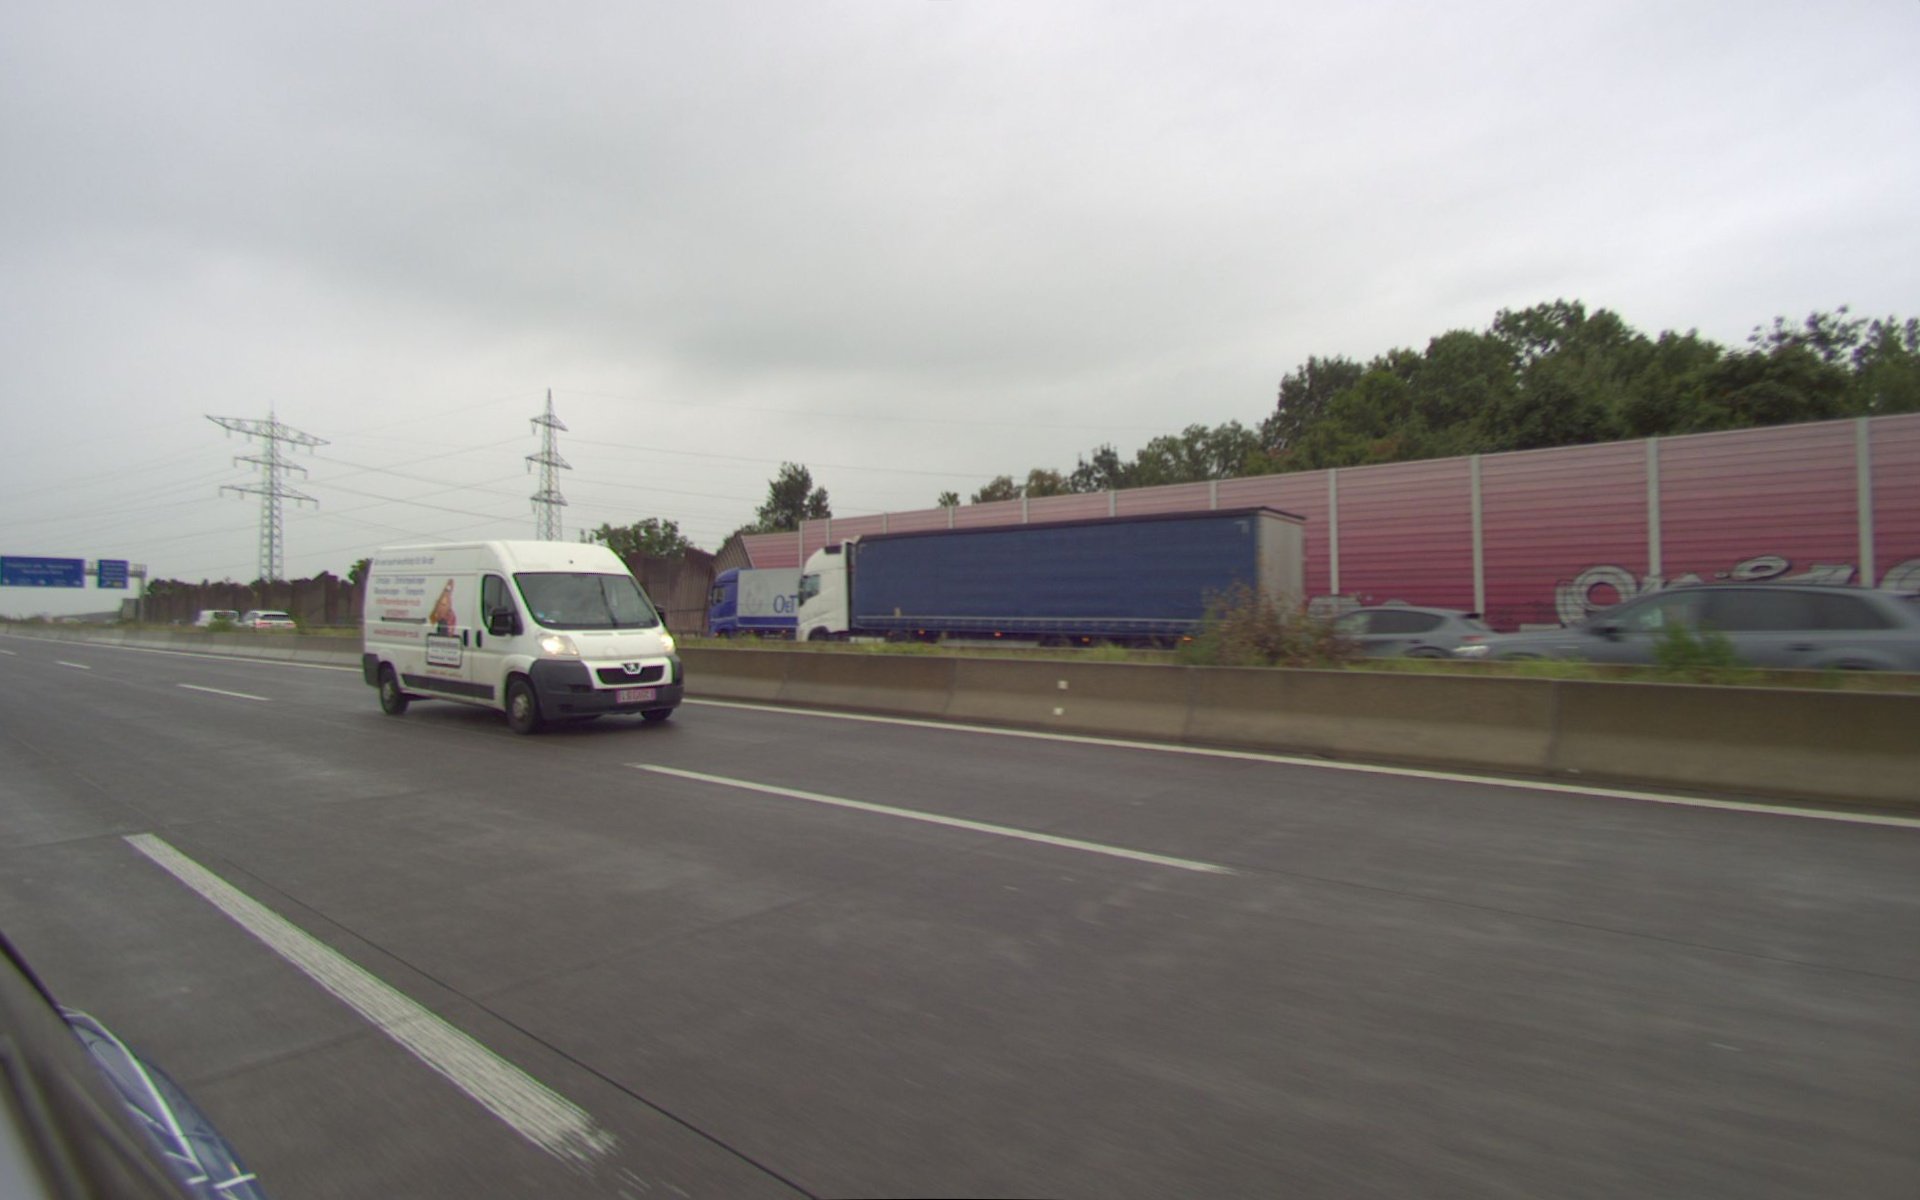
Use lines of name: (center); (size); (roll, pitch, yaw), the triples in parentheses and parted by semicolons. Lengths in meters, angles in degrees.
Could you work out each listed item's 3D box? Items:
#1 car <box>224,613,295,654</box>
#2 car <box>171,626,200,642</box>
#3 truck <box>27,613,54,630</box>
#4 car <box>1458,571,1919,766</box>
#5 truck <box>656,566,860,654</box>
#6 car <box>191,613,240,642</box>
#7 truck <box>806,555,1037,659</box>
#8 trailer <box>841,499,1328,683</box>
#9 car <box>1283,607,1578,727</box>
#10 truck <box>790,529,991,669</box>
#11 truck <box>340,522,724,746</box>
car: (-36.885, 1.723, 53.242); (4.789, 2.029, 1.973); (-1, -1, 41)
car: (-87.824, 3.870, 114.728); (4.264, 1.752, 1.972); (-1, 0, 43)
truck: (-122.215, 2.817, 134.513); (5.418, 2.222, 2.122); (-1, 0, 43)
car: (8.409, 0.694, 11.715); (4.387, 1.873, 1.973); (-1, -1, 41)
truck: (-8.837, 0.440, 43.135); (10.427, 3.376, 2.685); (-1, 0, 41)
car: (-55.143, 2.036, 74.938); (5.133, 2.029, 1.972); (-1, -1, 42)
truck: (-1.611, 0.279, 36.719); (8.695, 3.376, 2.942); (-1, 0, 41)
trailer: (2.599, -0.108, 28.084); (14.119, 4.058, 3.014); (-1, 0, 41)
car: (8.271, 1.084, 18.012); (4.387, 1.873, 1.973); (-1, -1, 41)
truck: (-2.316, 0.002, 32.473); (6.048, 4.058, 3.014); (-1, 0, 41)
truck: (-6.274, 0.411, 14.260); (6.578, 2.497, 2.215); (-1, 0, 40)
